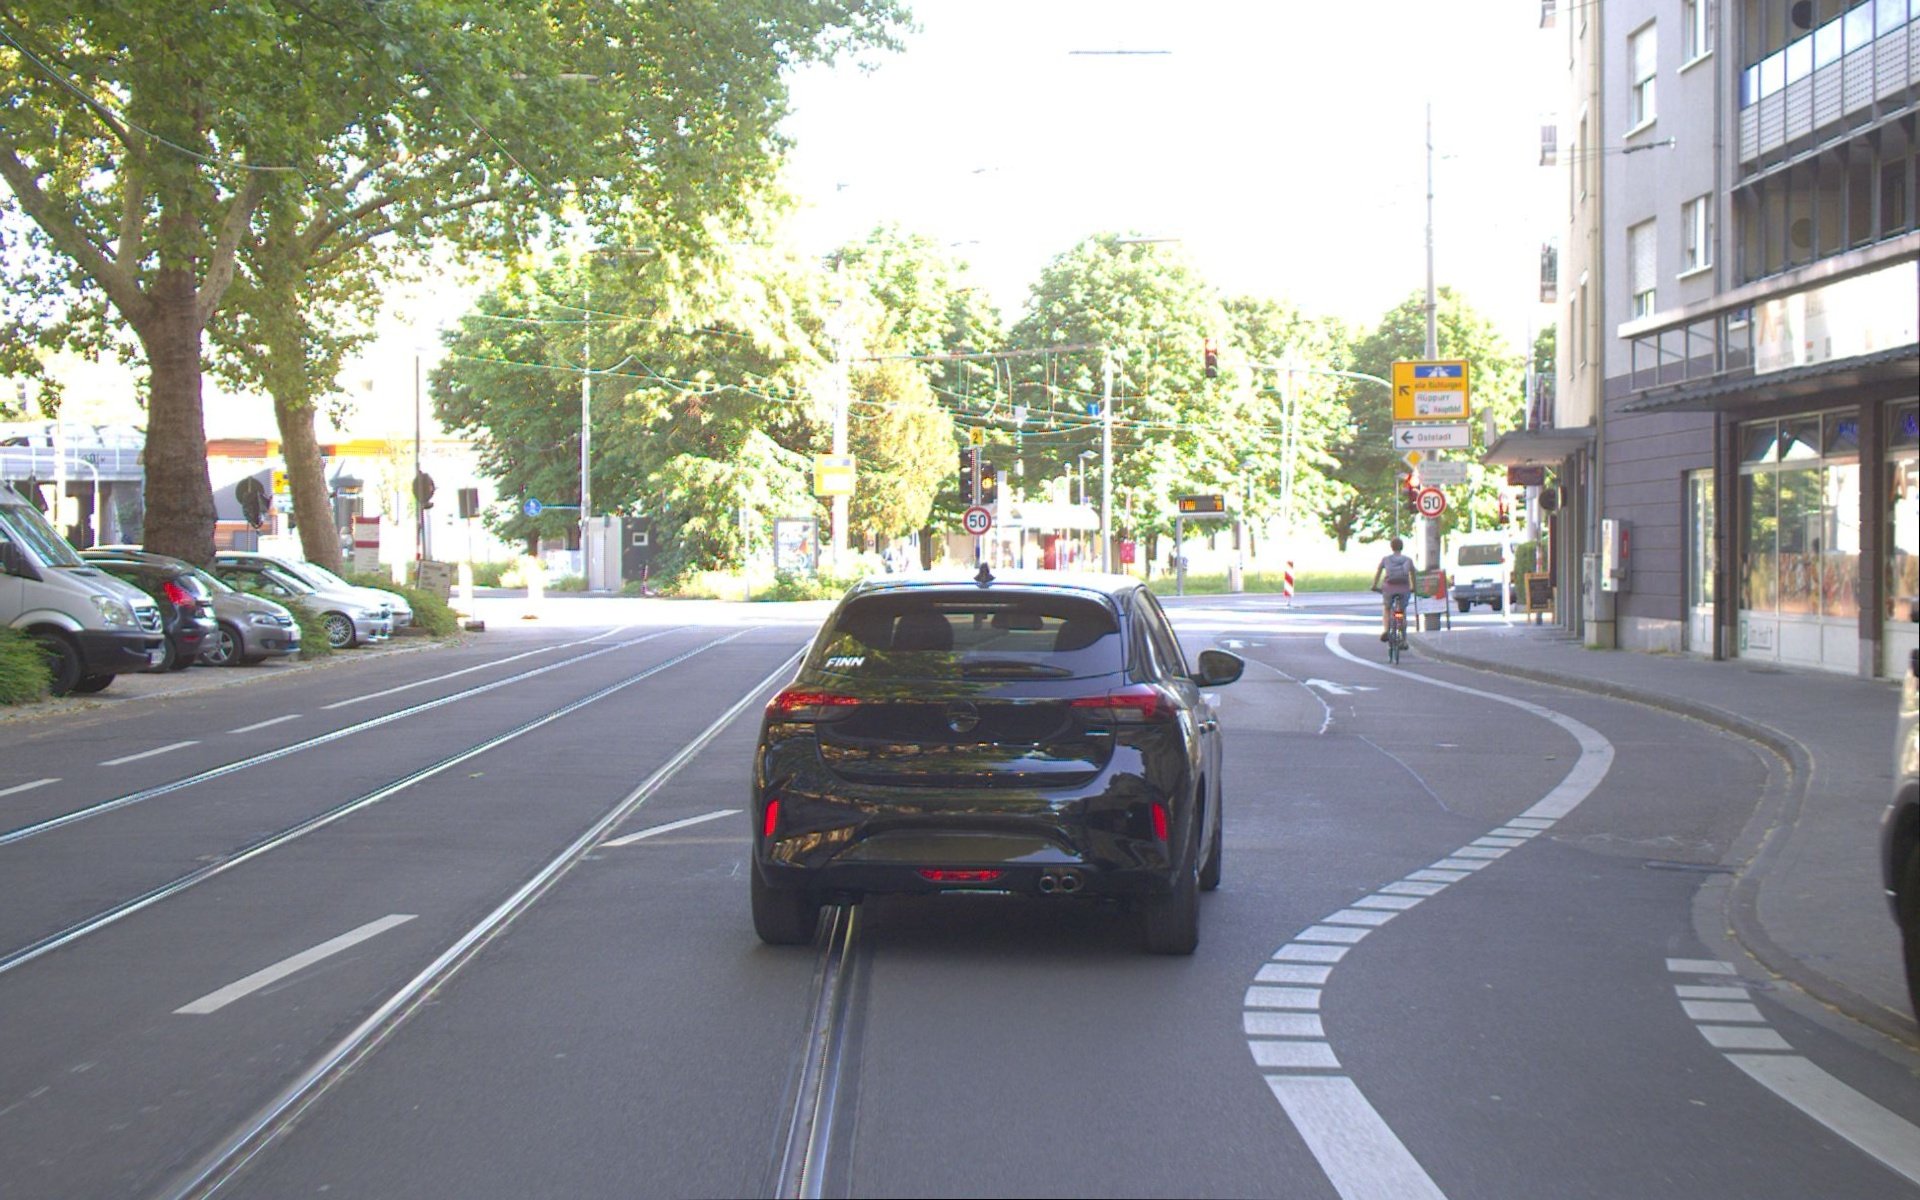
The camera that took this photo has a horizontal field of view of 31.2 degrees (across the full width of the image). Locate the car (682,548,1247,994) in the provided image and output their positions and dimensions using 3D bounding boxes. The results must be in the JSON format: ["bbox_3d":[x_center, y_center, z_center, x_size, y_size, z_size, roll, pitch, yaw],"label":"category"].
[{"bbox_3d":[0.171,0.556,13.918,1.782,1.491,3.999,1,1,7],"label":"car"}]

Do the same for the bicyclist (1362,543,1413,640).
[{"bbox_3d":[6.376,-0.138,51.249,0.706,1.431,0.702,0,1,12],"label":"bicyclist"}]

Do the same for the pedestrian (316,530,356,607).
[{"bbox_3d":[-18.032,-0.909,99.349,0.819,2.213,0.899,1,1,-35],"label":"pedestrian"}]

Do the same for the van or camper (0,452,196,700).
[{"bbox_3d":[-11.606,-0.316,38.104,5.723,2.635,2.269,1,1,0],"label":"van or camper"}]

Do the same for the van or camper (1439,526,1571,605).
[{"bbox_3d":[15.377,-0.964,96.832,2.172,2.138,4.498,2,1,30],"label":"van or camper"}]

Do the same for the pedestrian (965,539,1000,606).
[{"bbox_3d":[0.460,-0.571,70.435,0.653,1.359,0.645,0,1,6],"label":"pedestrian"}]

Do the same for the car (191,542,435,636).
[{"bbox_3d":[-11.815,-0.212,63.037,4.167,1.665,1.965,-1,1,-3],"label":"car"}]

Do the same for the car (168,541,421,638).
[{"bbox_3d":[-11.691,-0.193,60.601,4.167,1.665,1.965,0,1,-3],"label":"car"}]

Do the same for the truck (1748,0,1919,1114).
[{"bbox_3d":[4.034,-0.170,8.176,2.538,3.326,7.195,-2,1,0],"label":"truck"}]

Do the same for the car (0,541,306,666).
[{"bbox_3d":[-11.395,0.036,48.465,3.987,1.645,1.650,1,1,1],"label":"car"}]

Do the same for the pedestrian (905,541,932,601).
[{"bbox_3d":[-1.289,-0.906,107.904,0.617,1.847,0.583,2,1,24],"label":"pedestrian"}]

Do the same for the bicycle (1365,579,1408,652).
[{"bbox_3d":[6.356,0.220,51.212,0.508,1.063,1.563,0,1,12],"label":"bicycle"}]

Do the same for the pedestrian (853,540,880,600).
[{"bbox_3d":[-2.934,-0.941,107.567,0.617,1.847,0.583,2,1,25],"label":"pedestrian"}]

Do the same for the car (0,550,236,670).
[{"bbox_3d":[-11.865,0.106,45.934,3.987,1.510,1.650,1,1,1],"label":"car"}]

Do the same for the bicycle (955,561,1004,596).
[{"bbox_3d":[0.557,-0.617,98.140,0.789,0.988,2.241,1,1,16],"label":"bicycle"}]

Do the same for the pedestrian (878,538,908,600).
[{"bbox_3d":[-2.101,-0.970,107.677,0.658,1.926,0.608,2,1,32],"label":"pedestrian"}]

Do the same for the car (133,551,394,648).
[{"bbox_3d":[-11.616,-0.021,57.467,3.987,1.510,1.650,1,1,1],"label":"car"}]
